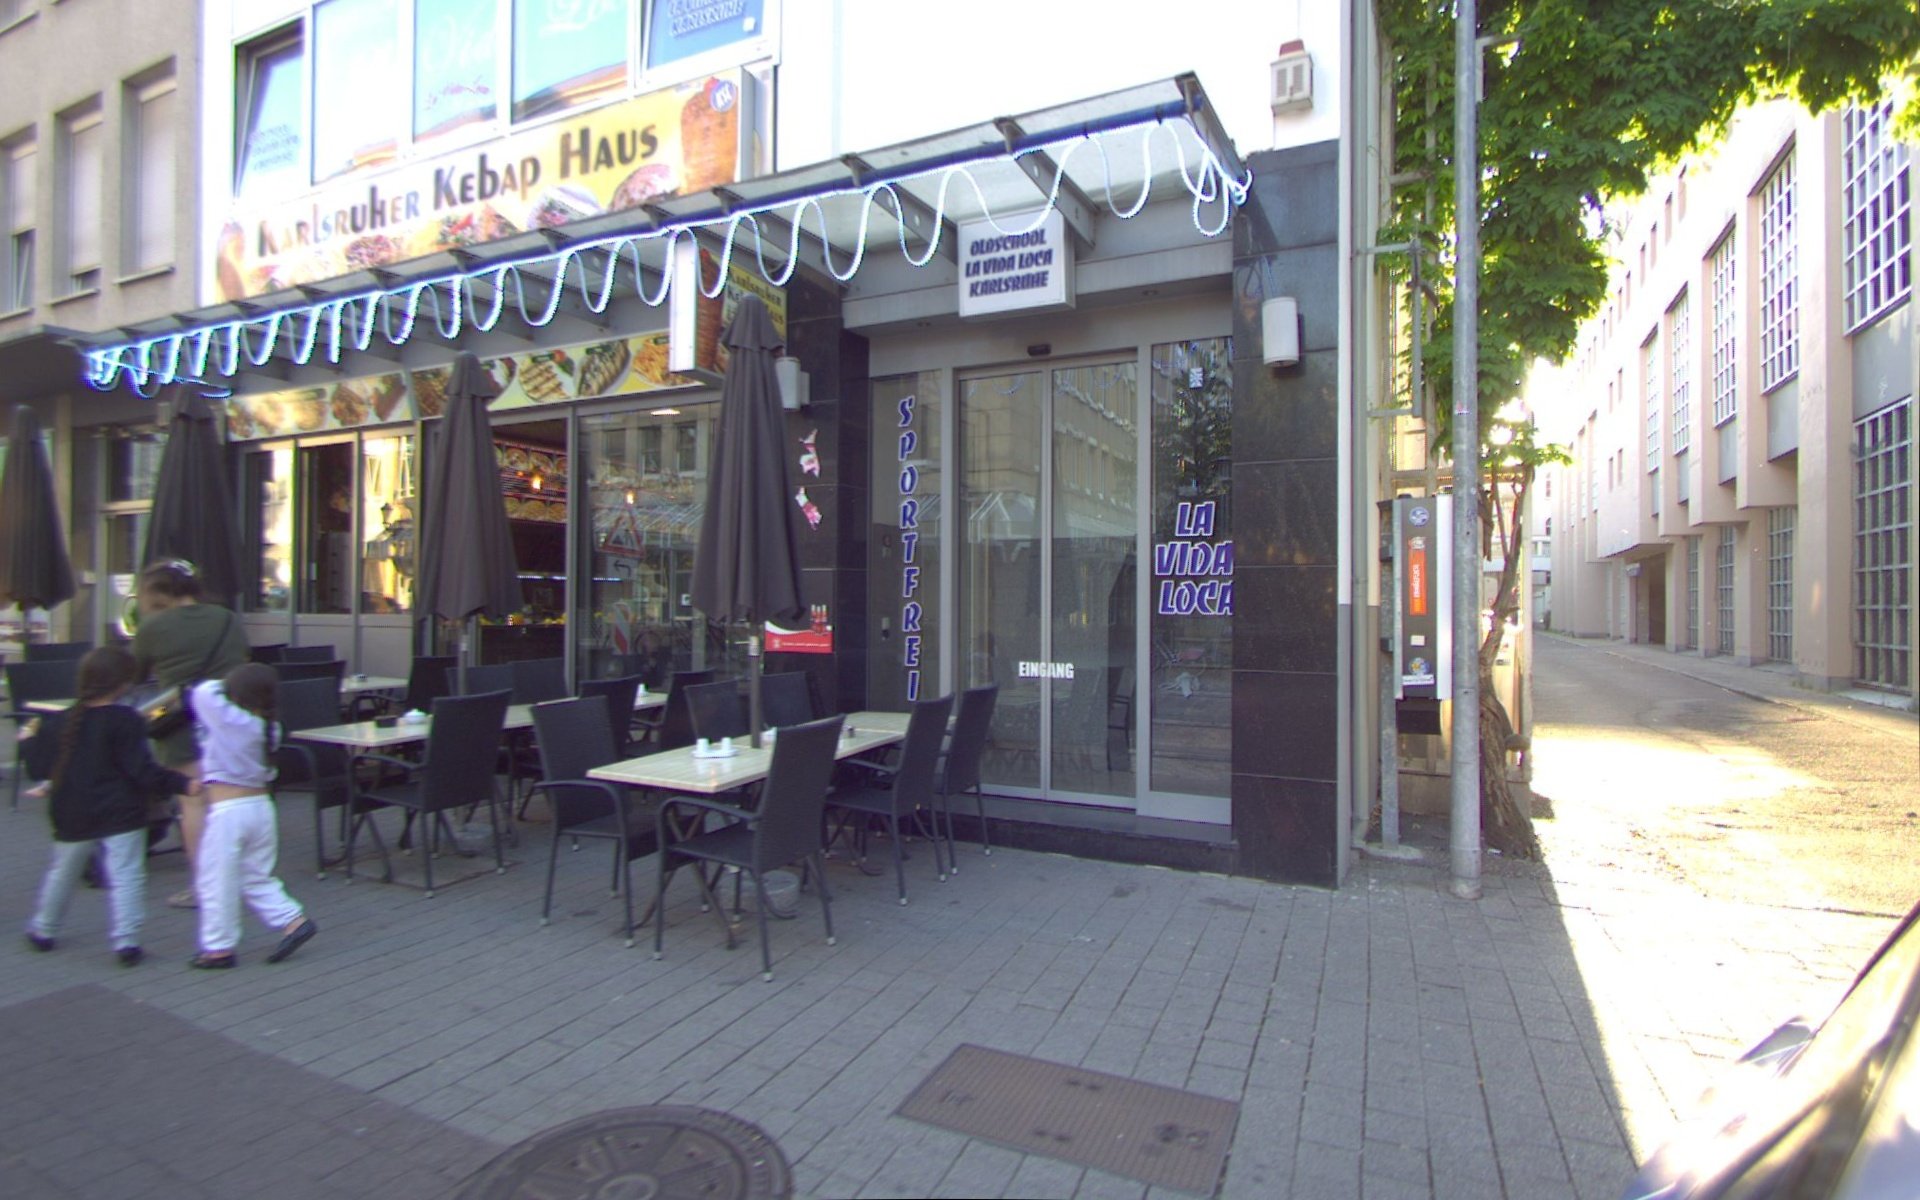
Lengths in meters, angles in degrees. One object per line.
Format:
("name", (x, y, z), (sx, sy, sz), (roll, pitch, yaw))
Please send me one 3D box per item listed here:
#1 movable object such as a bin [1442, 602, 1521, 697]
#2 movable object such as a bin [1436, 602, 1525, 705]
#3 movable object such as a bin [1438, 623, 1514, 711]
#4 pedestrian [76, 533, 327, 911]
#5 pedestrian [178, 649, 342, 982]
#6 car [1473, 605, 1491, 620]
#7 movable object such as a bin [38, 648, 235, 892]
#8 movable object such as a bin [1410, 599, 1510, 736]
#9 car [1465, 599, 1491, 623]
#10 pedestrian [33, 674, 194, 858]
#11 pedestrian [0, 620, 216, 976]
("movable object such as a bin", (8.236, 0.744, 16.045), (0.929, 1.384, 1.332), (2, 0, 21))
("movable object such as a bin", (7.583, 0.741, 14.816), (1.057, 1.384, 1.330), (2, 0, 25))
("movable object such as a bin", (6.994, 0.890, 13.750), (0.863, 1.088, 0.731), (2, 0, 26))
("pedestrian", (-3.490, 0.501, 4.678), (0.617, 1.555, 0.783), (0, -1, 37))
("pedestrian", (-2.678, 0.772, 3.871), (0.471, 1.138, 0.404), (0, -1, 41))
("car", (70.914, 1.687, 137.513), (1.979, 1.839, 3.964), (-2, -1, 26))
("movable object such as a bin", (-4.101, 0.787, 5.038), (0.795, 1.050, 0.580), (0, 0, 37))
("movable object such as a bin", (5.351, 0.671, 10.789), (0.832, 1.321, 1.276), (2, 0, 30))
("car", (40.569, 0.848, 79.290), (1.748, 1.789, 4.705), (-2, -1, 27))
("pedestrian", (-4.296, 0.809, 5.140), (0.546, 0.802, 0.505), (0, 0, 35))
("pedestrian", (-3.370, 0.718, 3.969), (0.652, 1.263, 0.515), (1, -1, -29))
